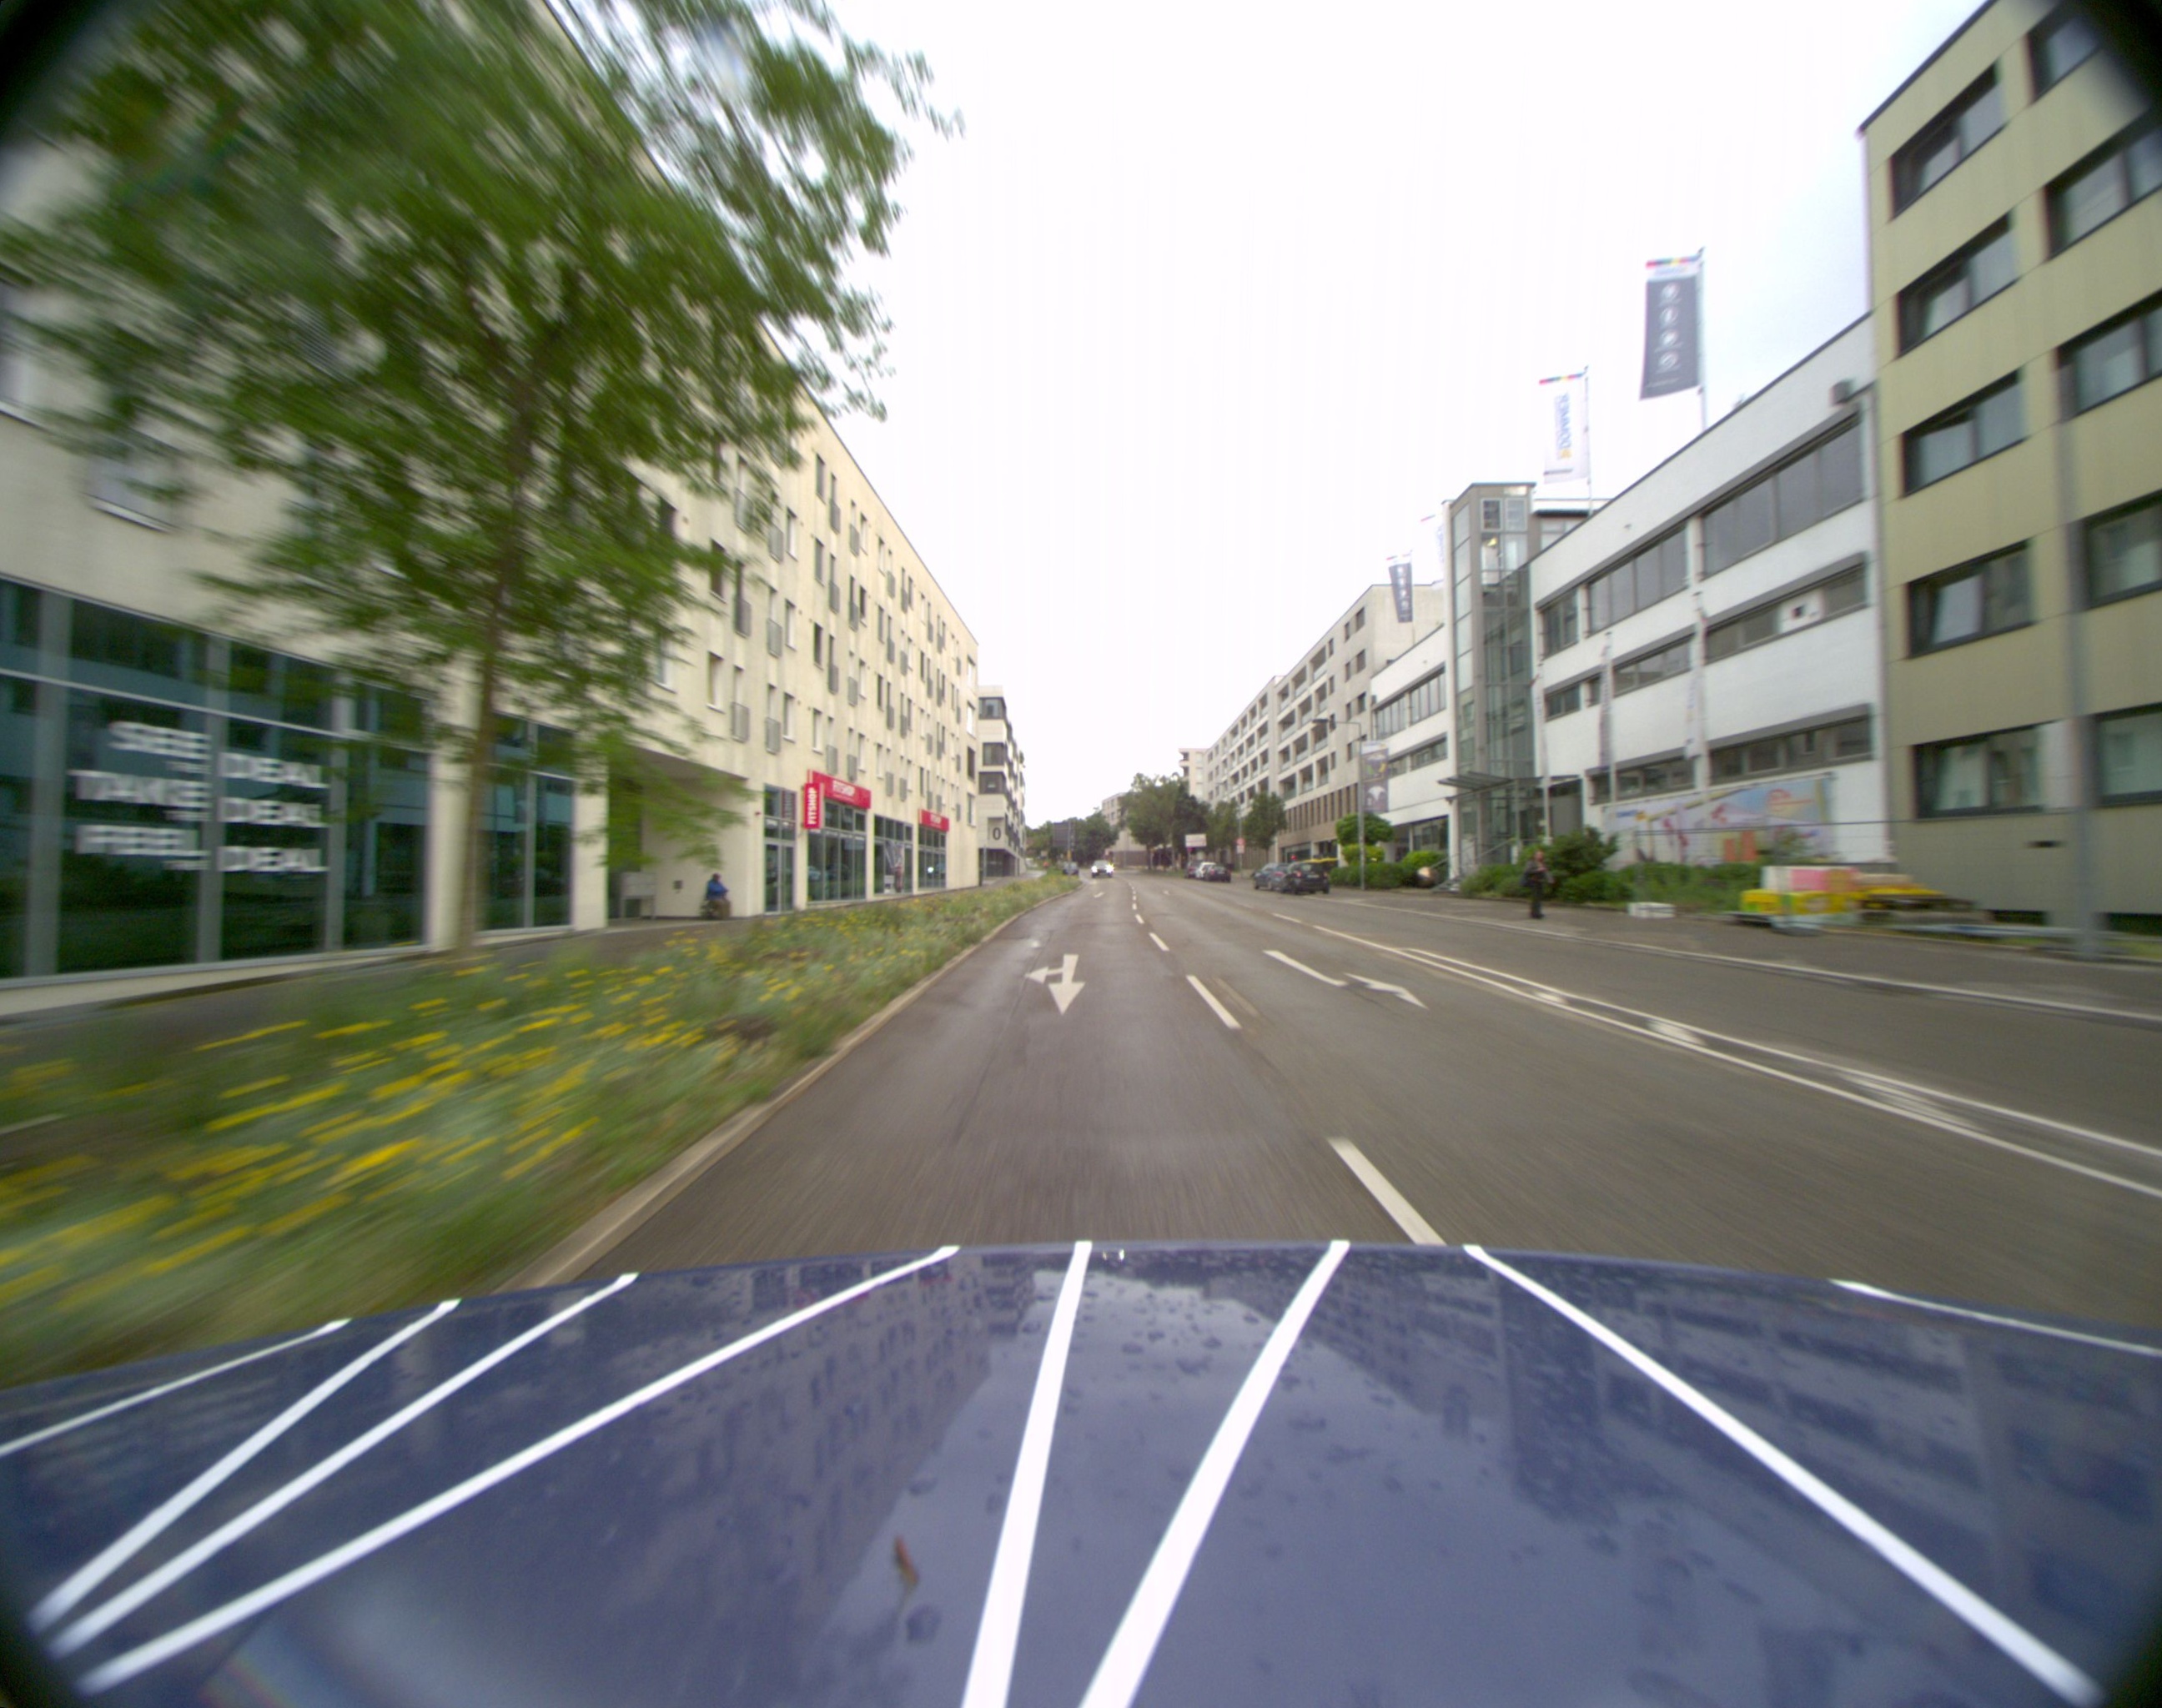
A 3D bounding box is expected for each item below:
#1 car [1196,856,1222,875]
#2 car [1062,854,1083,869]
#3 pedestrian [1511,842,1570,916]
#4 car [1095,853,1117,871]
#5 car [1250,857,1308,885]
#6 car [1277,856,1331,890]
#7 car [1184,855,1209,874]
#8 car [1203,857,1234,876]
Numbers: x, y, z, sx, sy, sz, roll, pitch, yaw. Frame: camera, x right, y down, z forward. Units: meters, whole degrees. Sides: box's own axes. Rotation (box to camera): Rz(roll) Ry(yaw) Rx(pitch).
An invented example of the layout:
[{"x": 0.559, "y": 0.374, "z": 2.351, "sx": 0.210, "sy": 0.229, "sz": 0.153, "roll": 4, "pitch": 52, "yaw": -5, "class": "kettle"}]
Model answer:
[{"x": 10.830, "y": 0.930, "z": 64.432, "sx": 1.597, "sy": 1.459, "sz": 3.422, "roll": 2, "pitch": 0, "yaw": 0, "class": "car"}, {"x": -0.907, "y": 0.846, "z": 84.733, "sx": 1.998, "sy": 1.477, "sz": 4.001, "roll": -3, "pitch": 0, "yaw": 3, "class": "car"}, {"x": 10.919, "y": 0.576, "z": 18.093, "sx": 0.769, "sy": 1.667, "sz": 0.969, "roll": -3, "pitch": 1, "yaw": 2, "class": "pedestrian"}, {"x": 2.517, "y": 0.769, "z": 75.588, "sx": 1.998, "sy": 1.565, "sz": 4.001, "roll": -3, "pitch": 0, "yaw": 3, "class": "car"}, {"x": 10.364, "y": 0.861, "z": 40.140, "sx": 1.660, "sy": 1.395, "sz": 4.268, "roll": 1, "pitch": 0, "yaw": -4, "class": "car"}, {"x": 10.557, "y": 0.855, "z": 36.123, "sx": 1.519, "sy": 1.501, "sz": 2.981, "roll": 1, "pitch": 0, "yaw": -4, "class": "car"}, {"x": 10.542, "y": 0.945, "z": 69.540, "sx": 1.630, "sy": 1.608, "sz": 3.973, "roll": 2, "pitch": 0, "yaw": 1, "class": "car"}, {"x": 10.753, "y": 0.943, "z": 59.766, "sx": 1.662, "sy": 1.383, "sz": 3.739, "roll": 1, "pitch": 0, "yaw": -1, "class": "car"}]
